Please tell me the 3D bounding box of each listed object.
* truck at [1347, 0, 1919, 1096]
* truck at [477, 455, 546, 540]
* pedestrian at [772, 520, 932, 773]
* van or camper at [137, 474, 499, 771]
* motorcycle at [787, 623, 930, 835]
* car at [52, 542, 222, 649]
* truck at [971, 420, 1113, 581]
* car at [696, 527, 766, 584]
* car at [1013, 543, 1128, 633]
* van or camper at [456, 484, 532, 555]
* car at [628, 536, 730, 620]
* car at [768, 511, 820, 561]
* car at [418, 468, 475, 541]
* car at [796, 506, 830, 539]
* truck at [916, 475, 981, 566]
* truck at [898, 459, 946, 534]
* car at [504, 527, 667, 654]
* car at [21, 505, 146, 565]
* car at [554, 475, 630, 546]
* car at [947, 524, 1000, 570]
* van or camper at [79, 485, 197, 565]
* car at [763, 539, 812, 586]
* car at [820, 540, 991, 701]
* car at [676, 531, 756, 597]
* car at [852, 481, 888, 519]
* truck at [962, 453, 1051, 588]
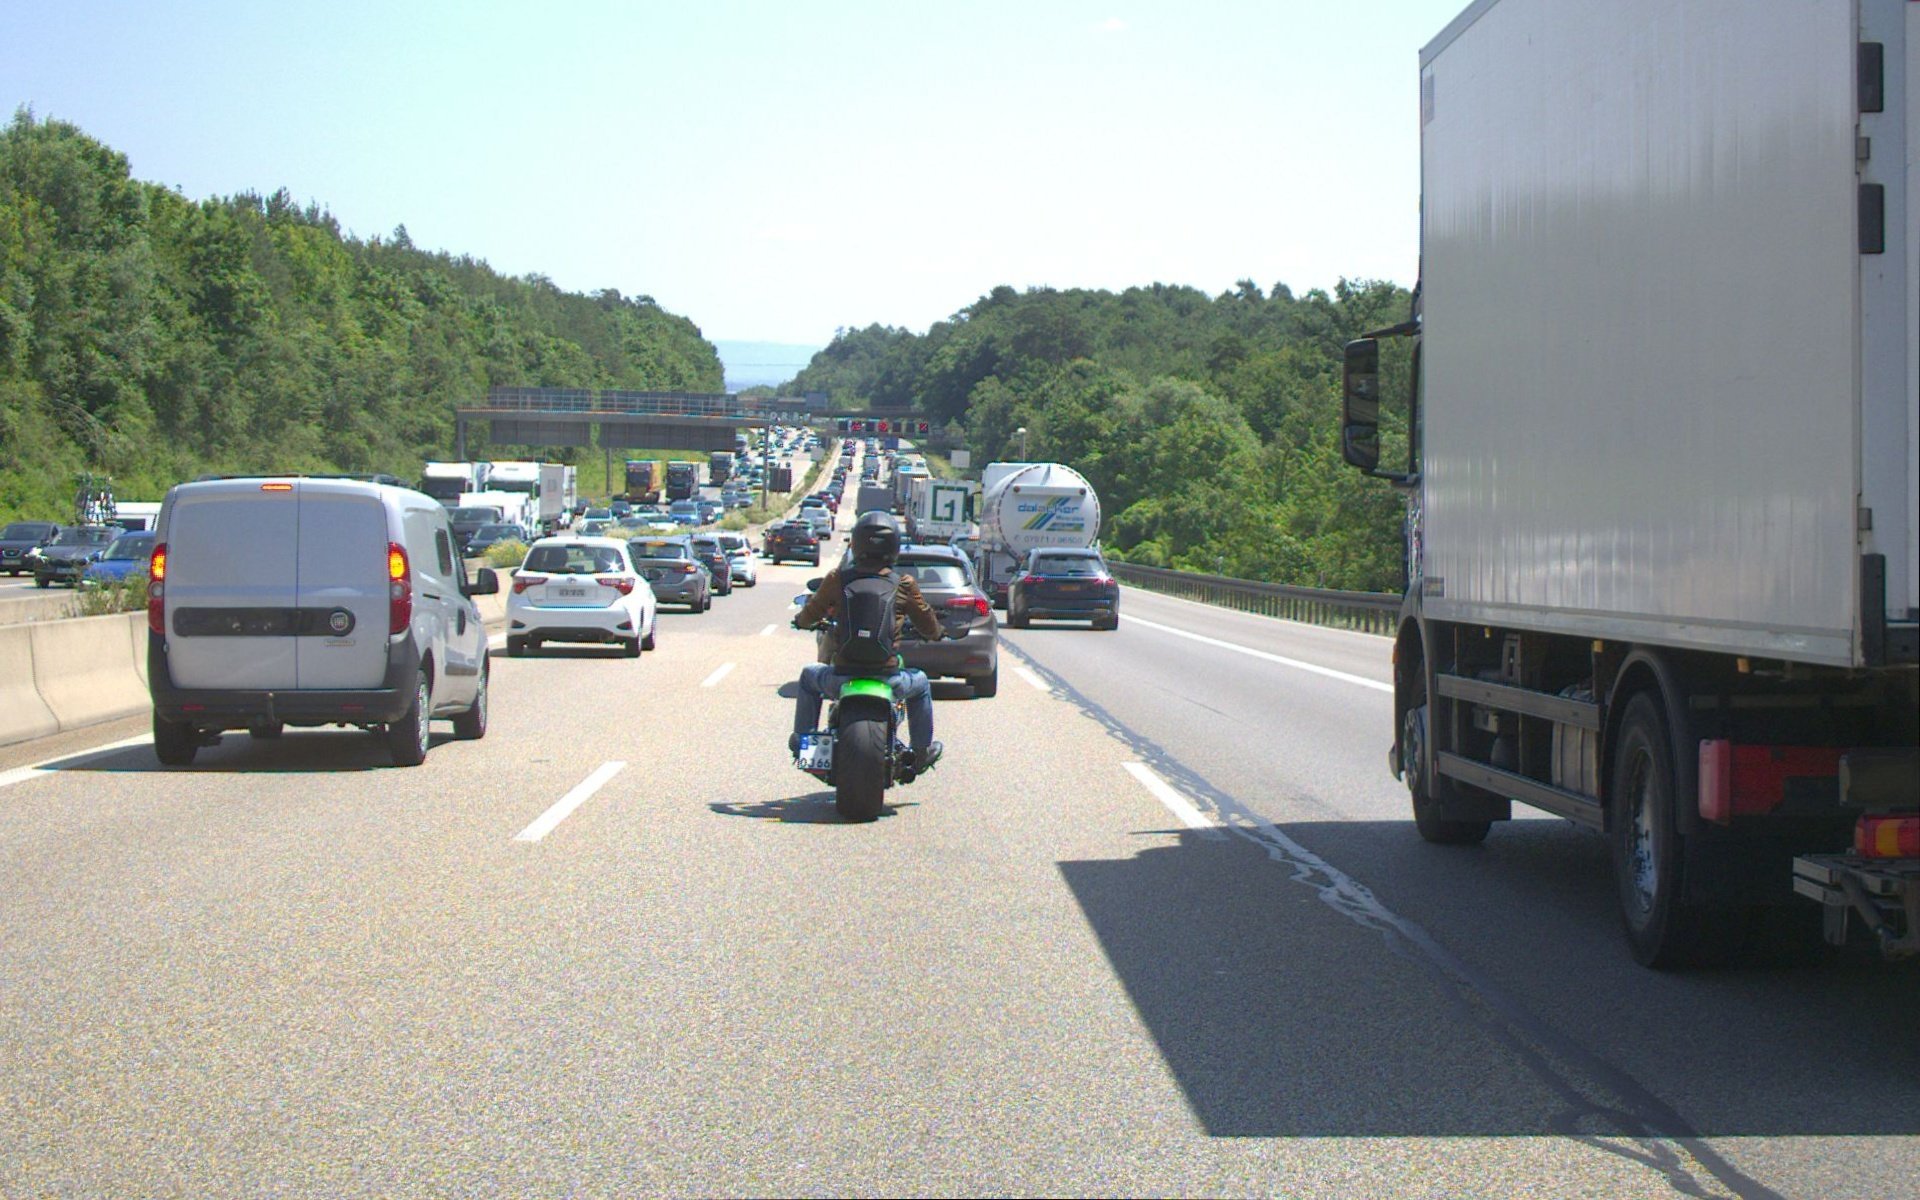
[{"bbox_3d":[3.576,-0.728,14.054,2.688,3.863,9.781,-1,1,-1],"label":"truck"},{"bbox_3d":[-22.773,-5.213,174.833,2.840,4.199,5.660,1,1,-1],"label":"truck"},{"bbox_3d":[-0.585,0.240,18.945,0.849,1.357,0.961,0,1,0],"label":"pedestrian"},{"bbox_3d":[-4.366,0.117,23.985,1.796,1.886,4.160,0,1,-1],"label":"van or camper"},{"bbox_3d":[-0.537,0.678,18.973,0.691,1.012,2.121,2,1,0],"label":"motorcycle"},{"bbox_3d":[-12.535,-0.099,52.574,1.710,1.532,4.129,0,1,-1],"label":"car"},{"bbox_3d":[1.887,-2.326,82.910,2.988,3.659,9.288,0,1,-1],"label":"truck"},{"bbox_3d":[-6.306,-1.247,95.016,1.699,1.473,4.001,2,2,-1],"label":"car"},{"bbox_3d":[1.980,-0.242,62.679,1.828,1.465,4.001,3,2,-1],"label":"car"},{"bbox_3d":[-18.678,-3.235,138.099,2.230,2.751,6.837,0,1,-1],"label":"van or camper"},{"bbox_3d":[-5.381,-0.455,66.223,1.699,1.473,4.001,2,2,-1],"label":"car"},{"bbox_3d":[-6.546,-2.529,135.688,1.880,1.853,4.001,2,1,-1],"label":"car"},{"bbox_3d":[-27.349,-5.065,183.209,2.449,3.860,4.566,0,1,-2],"label":"car"},{"bbox_3d":[-9.010,-4.746,211.104,1.929,2.007,4.000,0,1,-1],"label":"car"},{"bbox_3d":[-0.658,-4.228,181.544,3.033,4.526,9.984,3,2,-1],"label":"truck"},{"bbox_3d":[-2.730,-7.406,245.580,3.033,5.121,9.984,3,2,-1],"label":"truck"},{"bbox_3d":[-4.760,-0.153,44.102,1.699,1.473,4.001,2,2,-1],"label":"car"},{"bbox_3d":[-20.462,-1.537,80.417,1.801,1.342,4.724,0,1,-1],"label":"car"},{"bbox_3d":[-10.295,-2.486,96.347,1.891,1.941,4.001,0,1,-3],"label":"car"},{"bbox_3d":[0.467,-1.940,124.428,1.787,1.550,3.804,2,2,-1],"label":"car"},{"bbox_3d":[-20.483,-1.879,85.808,2.076,1.970,3.705,0,1,-1],"label":"van or camper"},{"bbox_3d":[-7.560,-1.654,150.752,1.993,2.007,4.000,0,1,-1],"label":"car"},{"bbox_3d":[-0.501,0.163,34.540,1.533,1.504,4.000,0,1,2],"label":"car"},{"bbox_3d":[-5.902,-0.891,83.366,1.699,1.473,4.001,2,2,-1],"label":"car"},{"bbox_3d":[-6.476,-7.200,247.359,2.504,2.578,5.017,2,2,-1],"label":"car"},{"bbox_3d":[1.215,-2.111,91.847,1.993,3.510,4.752,0,1,-4],"label":"truck"}]
